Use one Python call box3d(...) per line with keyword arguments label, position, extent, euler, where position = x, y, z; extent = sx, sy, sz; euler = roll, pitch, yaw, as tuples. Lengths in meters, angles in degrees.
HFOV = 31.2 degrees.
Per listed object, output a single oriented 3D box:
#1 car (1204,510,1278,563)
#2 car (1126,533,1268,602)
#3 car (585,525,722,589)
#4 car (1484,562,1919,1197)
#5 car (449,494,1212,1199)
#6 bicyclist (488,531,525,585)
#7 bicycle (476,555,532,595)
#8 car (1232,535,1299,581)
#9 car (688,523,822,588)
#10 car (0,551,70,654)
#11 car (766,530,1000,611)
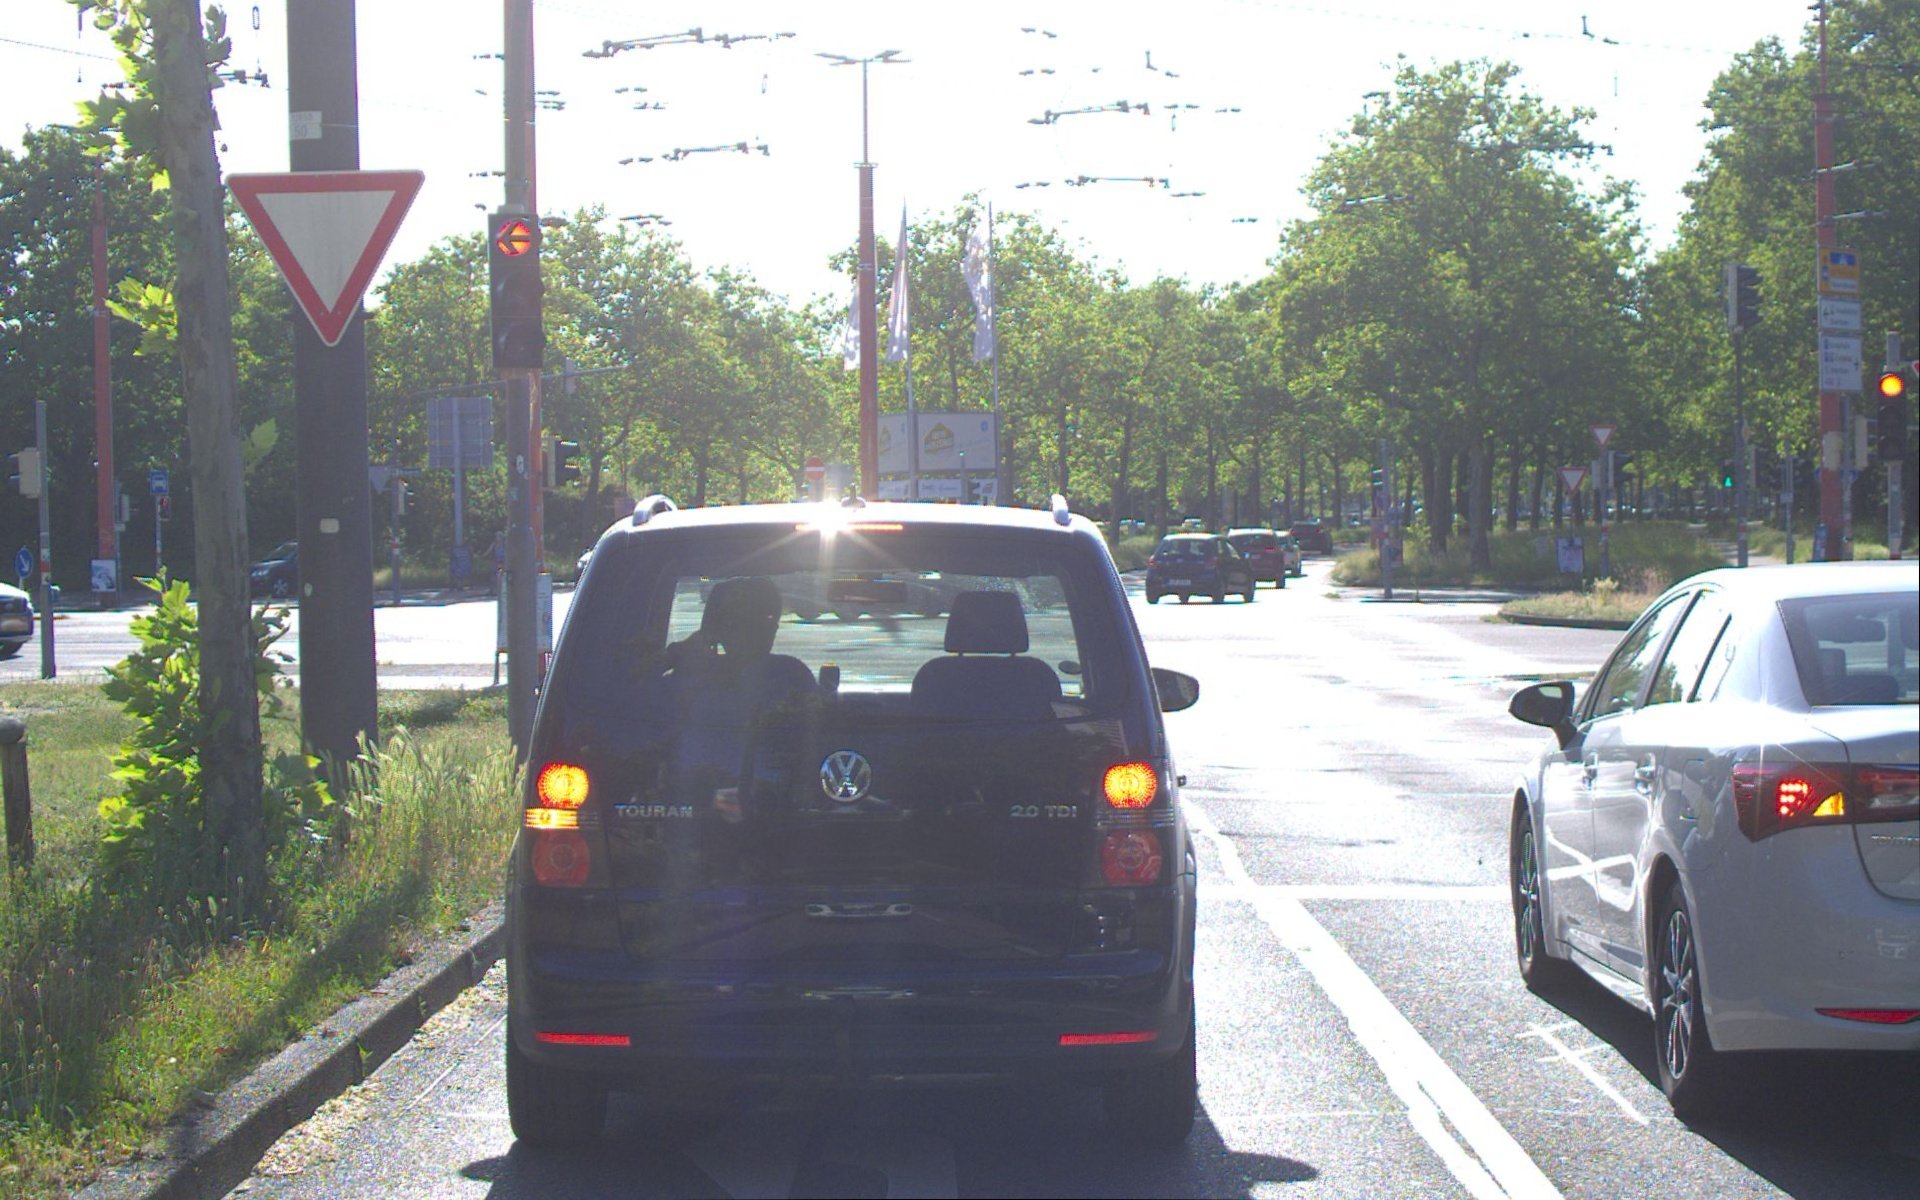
box3d(label="car", position=(7.858, -1.803, 96.556), extent=(1.908, 1.459, 4.374), euler=(0, 2, 3))
box3d(label="car", position=(5.208, -0.718, 74.999), extent=(1.910, 1.459, 4.051), euler=(0, 1, 22))
box3d(label="car", position=(-8.269, -1.181, 93.194), extent=(1.995, 1.679, 4.825), euler=(0, 1, 17))
box3d(label="car", position=(2.686, 0.629, 10.079), extent=(1.715, 1.449, 4.144), euler=(0, 1, 1))
box3d(label="car", position=(-0.318, 0.545, 9.878), extent=(1.737, 1.635, 4.000), euler=(0, 1, -1))
box3d(label="bicyclist", position=(-12.491, -1.157, 94.631), extent=(0.693, 1.452, 0.874), euler=(0, 1, 18))
box3d(label="bicycle", position=(-12.522, -0.689, 94.419), extent=(0.735, 1.086, 1.959), euler=(0, 1, 18))
box3d(label="car", position=(10.038, -1.387, 112.860), extent=(1.908, 1.459, 4.221), euler=(0, 1, 9))
box3d(label="car", position=(-5.428, -1.201, 91.655), extent=(1.995, 1.679, 4.825), euler=(0, 1, 17))
box3d(label="car", position=(-16.307, 0.031, 53.264), extent=(4.638, 1.538, 1.997), euler=(0, 1, 24))
box3d(label="car", position=(-1.421, -0.582, 64.476), extent=(1.913, 1.459, 4.229), euler=(1, 1, 45))
